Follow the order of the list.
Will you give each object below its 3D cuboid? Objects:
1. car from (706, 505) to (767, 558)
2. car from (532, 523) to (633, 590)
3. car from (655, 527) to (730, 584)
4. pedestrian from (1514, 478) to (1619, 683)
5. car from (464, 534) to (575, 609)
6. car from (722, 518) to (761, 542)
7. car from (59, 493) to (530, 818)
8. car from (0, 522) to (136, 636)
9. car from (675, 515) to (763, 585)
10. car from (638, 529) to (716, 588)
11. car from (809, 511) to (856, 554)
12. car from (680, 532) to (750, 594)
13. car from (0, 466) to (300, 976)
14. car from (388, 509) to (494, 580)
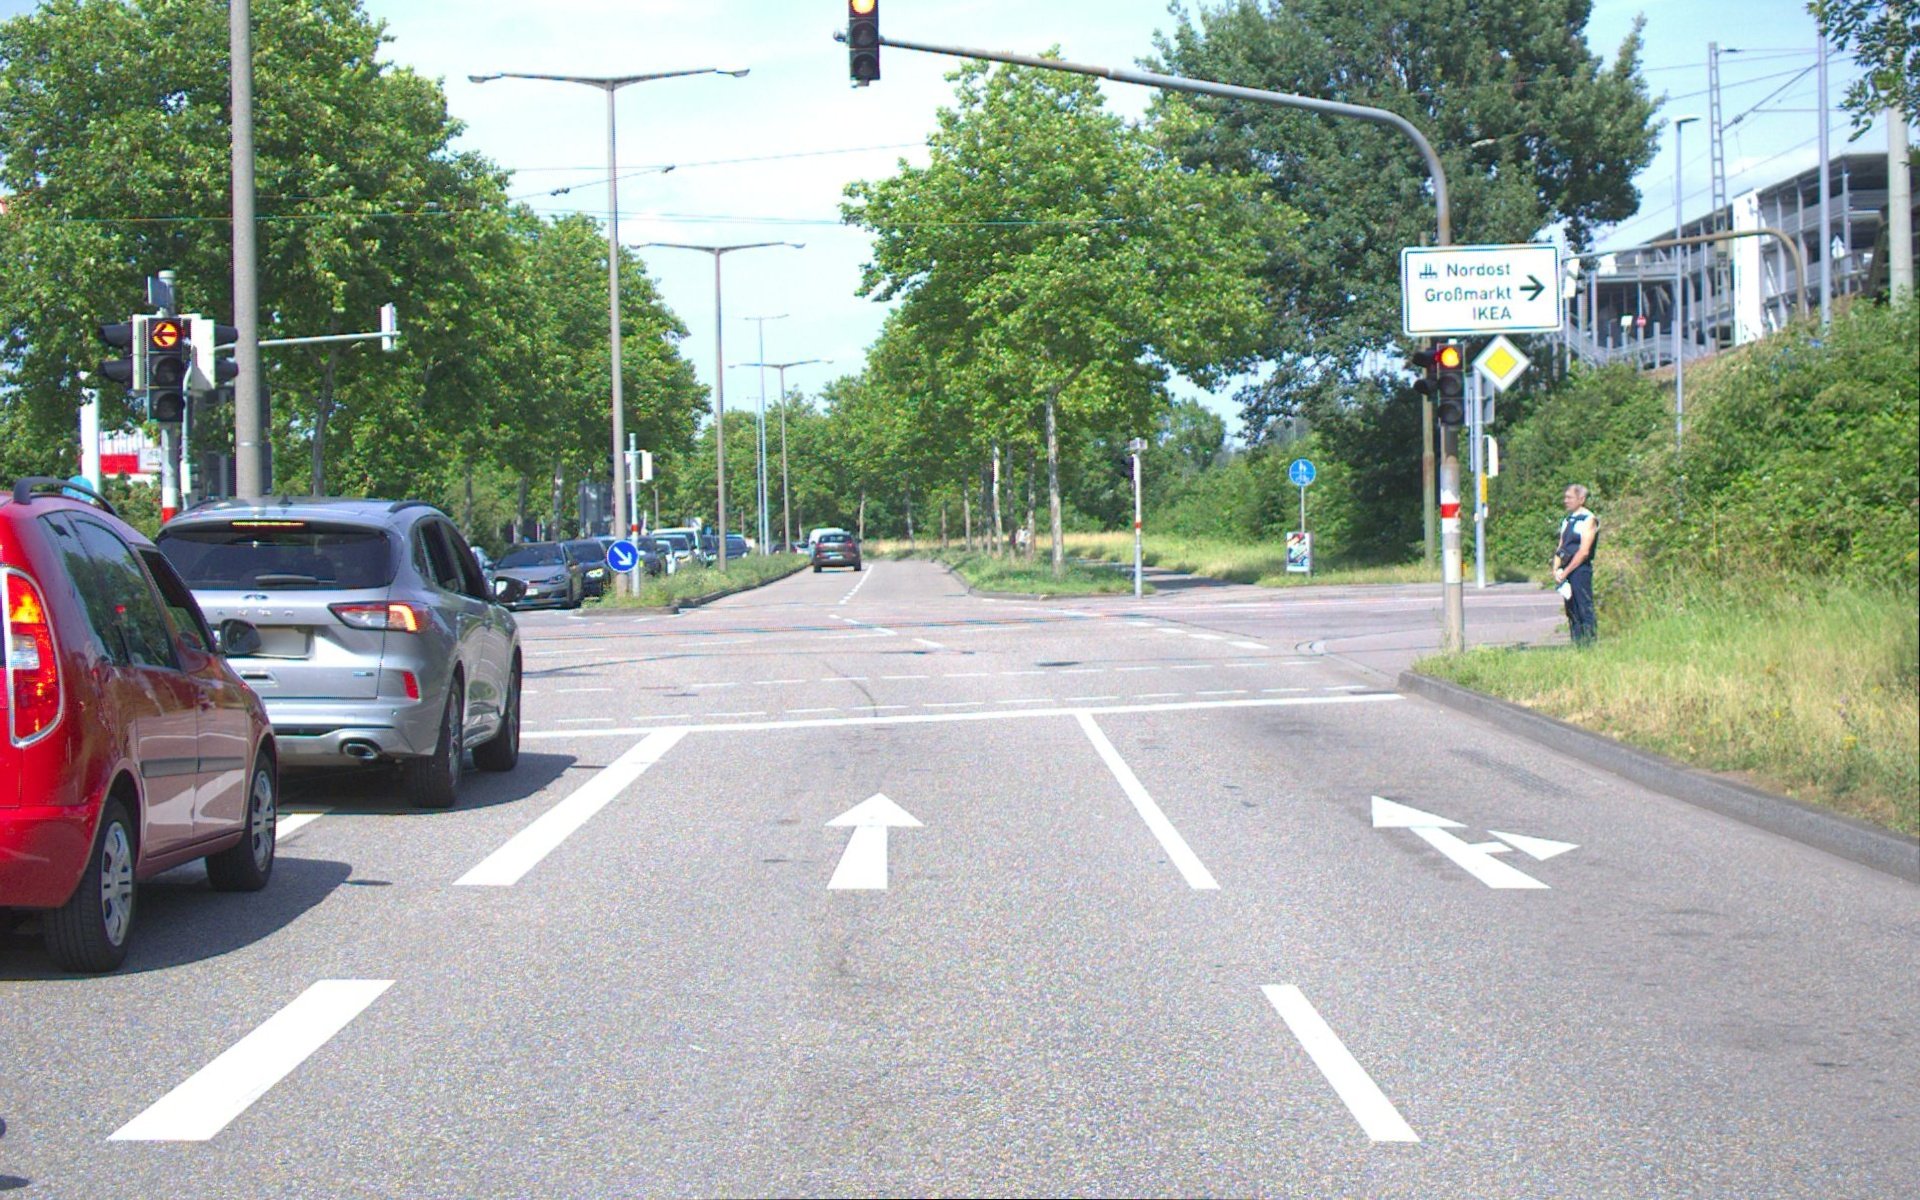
[{"bbox_3d":[-8.196,-2.521,126.297,1.993,1.889,4.376,-1,1,-1],"label":"car"},{"bbox_3d":[-8.930,-1.055,81.669,1.993,1.495,4.000,-1,1,-1],"label":"car"},{"bbox_3d":[-8.131,-1.377,104.650,1.993,1.672,4.000,-1,1,-1],"label":"car"},{"bbox_3d":[5.849,-0.200,33.188,0.837,1.926,0.772,-1,3,-4],"label":"pedestrian"},{"bbox_3d":[-9.467,-0.639,74.102,1.918,1.508,4.000,-1,1,-1],"label":"car"},{"bbox_3d":[-15.813,-5.067,248.532,1.865,1.689,4.411,-1,1,-16],"label":"car"},{"bbox_3d":[-3.599,0.235,19.360,1.881,1.612,4.213,0,1,-1],"label":"car"},{"bbox_3d":[-11.979,-0.295,44.404,1.740,1.385,4.000,-1,1,-1],"label":"car"},{"bbox_3d":[-6.062,-1.280,86.899,1.993,1.690,4.000,-1,1,-1],"label":"car"},{"bbox_3d":[-8.044,-1.198,97.964,1.903,1.590,4.000,-1,1,-1],"label":"car"},{"bbox_3d":[-5.087,-2.724,138.046,1.736,1.530,4.001,0,3,0],"label":"car"},{"bbox_3d":[-7.846,-1.199,110.285,1.993,1.889,4.376,-1,1,-1],"label":"car"},{"bbox_3d":[-3.614,0.381,12.700,1.628,1.590,3.918,-1,0,-1],"label":"car"},{"bbox_3d":[-12.424,-1.354,82.499,1.993,1.507,4.001,0,3,-1],"label":"car"}]
